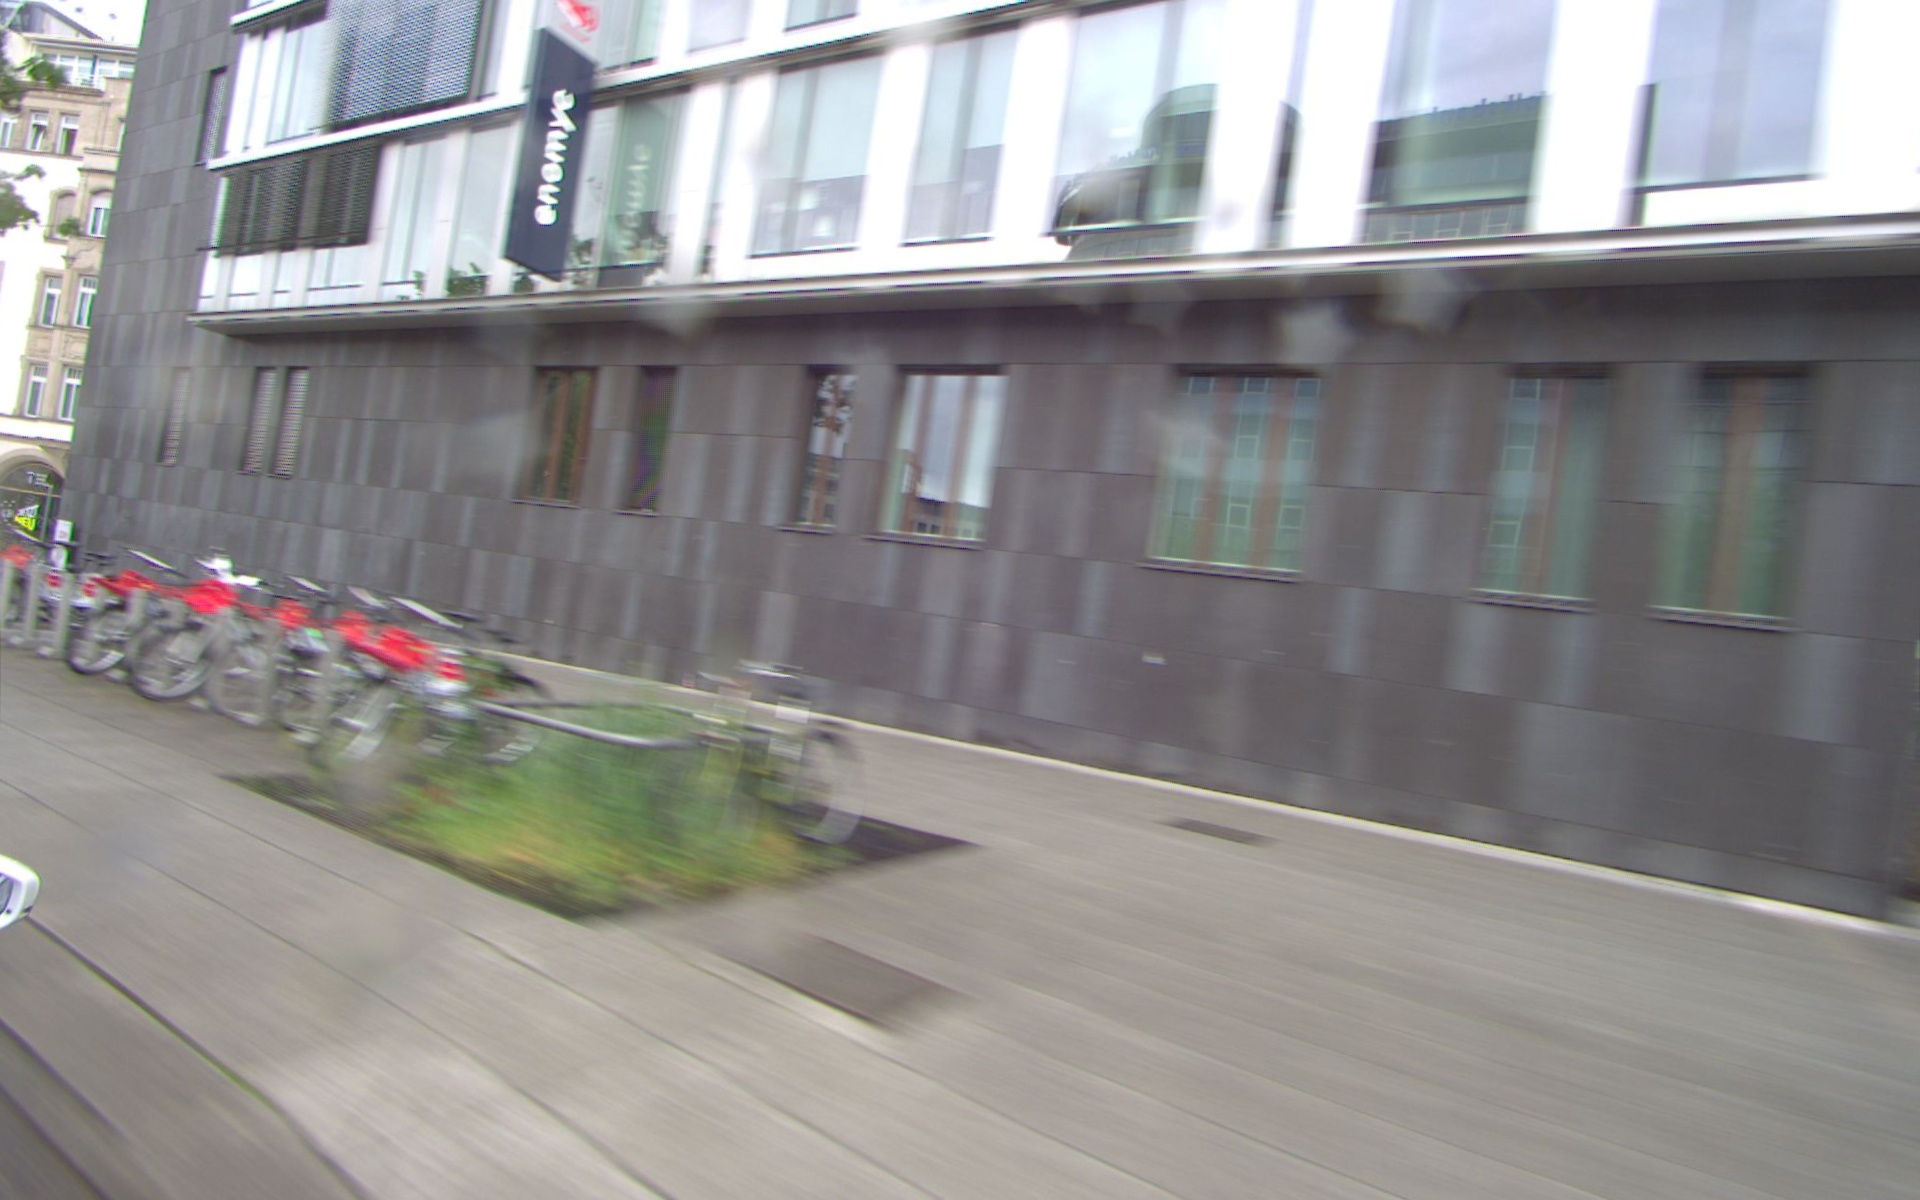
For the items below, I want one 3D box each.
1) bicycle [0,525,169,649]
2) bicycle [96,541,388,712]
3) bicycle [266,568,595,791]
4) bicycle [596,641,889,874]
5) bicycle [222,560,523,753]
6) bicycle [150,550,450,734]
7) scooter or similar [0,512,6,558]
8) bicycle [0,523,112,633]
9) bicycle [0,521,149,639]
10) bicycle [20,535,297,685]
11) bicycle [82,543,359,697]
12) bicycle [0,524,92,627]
[{"bbox_3d":[-9.685,-0.133,10.758,0.677,1.153,1.712,5,-3,25],"label":"bicycle"},{"bbox_3d":[-5.794,0.261,8.250,0.677,1.197,1.735,7,-2,25],"label":"bicycle"},{"bbox_3d":[-3.351,0.517,6.568,0.677,1.197,1.735,7,-2,25],"label":"bicycle"},{"bbox_3d":[-1.190,0.864,5.935,0.677,1.082,1.735,7,-2,25],"label":"bicycle"},{"bbox_3d":[-4.234,0.434,7.417,0.677,1.197,1.735,7,-2,25],"label":"bicycle"},{"bbox_3d":[-4.992,0.353,7.757,0.677,1.197,1.735,7,-2,25],"label":"bicycle"},{"bbox_3d":[-12.694,-0.562,12.478,0.297,1.272,1.110,5,-3,24],"label":"scooter or similar"},{"bbox_3d":[-10.963,-0.283,11.620,0.677,1.153,1.540,5,-3,25],"label":"bicycle"},{"bbox_3d":[-10.261,-0.221,11.314,0.677,1.153,1.540,5,-3,25],"label":"bicycle"},{"bbox_3d":[-7.126,0.139,9.056,0.677,1.153,1.735,7,-2,25],"label":"bicycle"},{"bbox_3d":[-6.362,0.225,8.772,0.677,1.153,1.735,7,-2,25],"label":"bicycle"},{"bbox_3d":[-11.608,-0.339,12.103,0.651,1.153,1.540,5,-3,25],"label":"bicycle"}]
